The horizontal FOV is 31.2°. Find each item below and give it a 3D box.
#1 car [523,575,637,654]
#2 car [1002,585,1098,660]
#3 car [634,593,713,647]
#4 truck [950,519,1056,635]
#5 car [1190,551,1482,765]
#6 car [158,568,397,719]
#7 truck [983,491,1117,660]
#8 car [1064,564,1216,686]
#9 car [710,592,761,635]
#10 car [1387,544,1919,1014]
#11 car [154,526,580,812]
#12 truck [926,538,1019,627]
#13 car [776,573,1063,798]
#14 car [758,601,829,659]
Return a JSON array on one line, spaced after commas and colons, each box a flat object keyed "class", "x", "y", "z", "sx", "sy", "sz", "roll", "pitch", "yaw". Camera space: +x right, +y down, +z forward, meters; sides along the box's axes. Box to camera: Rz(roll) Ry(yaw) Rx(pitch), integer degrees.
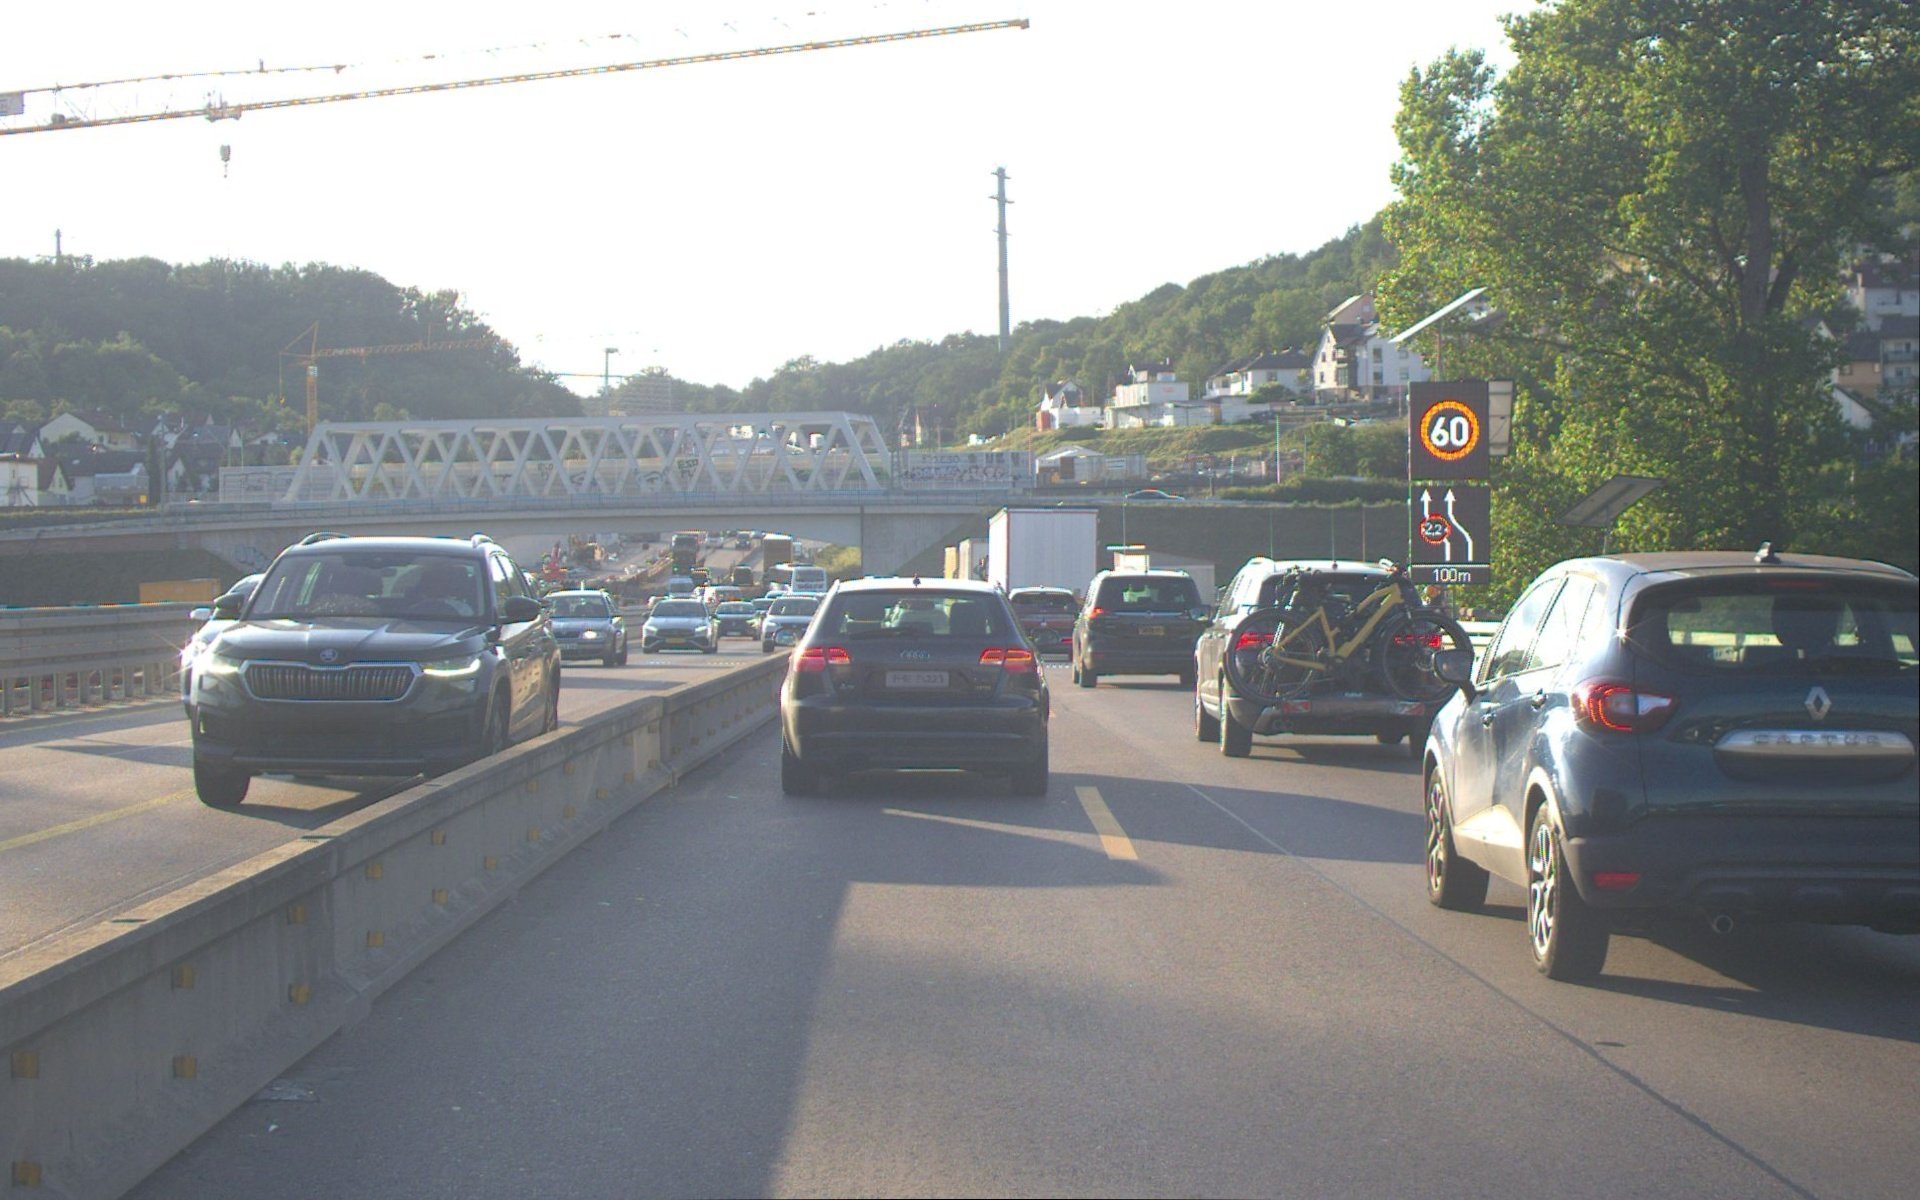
[{"class": "car", "x": -7.291, "y": 0.255, "z": 66.275, "sx": 1.677, "sy": 1.418, "sz": 4.579, "roll": 1, "pitch": 1, "yaw": 0}, {"class": "car", "x": 1.933, "y": 0.468, "z": 74.673, "sx": 1.770, "sy": 1.547, "sz": 4.000, "roll": 1, "pitch": 0, "yaw": -2}, {"class": "car", "x": -7.553, "y": 0.531, "z": 91.004, "sx": 1.774, "sy": 1.378, "sz": 4.532, "roll": 0, "pitch": -1, "yaw": -1}, {"class": "truck", "x": 1.672, "y": -1.047, "z": 142.625, "sx": 3.890, "sy": 4.483, "sz": 15.268, "roll": 1, "pitch": 1, "yaw": -1}, {"class": "car", "x": 2.967, "y": 0.440, "z": 28.129, "sx": 1.875, "sy": 1.594, "sz": 4.965, "roll": 0, "pitch": 0, "yaw": 0}, {"class": "car", "x": -6.957, "y": 0.409, "z": 35.387, "sx": 1.701, "sy": 1.441, "sz": 4.000, "roll": 0, "pitch": 1, "yaw": -1}, {"class": "truck", "x": 2.488, "y": -0.898, "z": 100.957, "sx": 3.385, "sy": 4.482, "sz": 15.269, "roll": 1, "pitch": 2, "yaw": 0}, {"class": "car", "x": 2.514, "y": 0.335, "z": 48.943, "sx": 1.814, "sy": 1.627, "sz": 4.411, "roll": 1, "pitch": 0, "yaw": -1}, {"class": "car", "x": -8.491, "y": 0.487, "z": 130.311, "sx": 1.710, "sy": 1.547, "sz": 4.000, "roll": -1, "pitch": 1, "yaw": -1}, {"class": "car", "x": 2.903, "y": 0.589, "z": 13.737, "sx": 1.774, "sy": 1.580, "sz": 4.135, "roll": 1, "pitch": 1, "yaw": -1}, {"class": "car", "x": -3.711, "y": 0.382, "z": 22.311, "sx": 1.993, "sy": 1.639, "sz": 4.512, "roll": 1, "pitch": 0, "yaw": 0}, {"class": "truck", "x": 0.589, "y": -1.014, "z": 182.829, "sx": 3.890, "sy": 4.483, "sz": 13.850, "roll": 1, "pitch": 1, "yaw": -4}, {"class": "car", "x": -0.334, "y": 0.527, "z": 23.429, "sx": 1.770, "sy": 1.385, "sz": 4.000, "roll": 1, "pitch": 0, "yaw": -2}, {"class": "car", "x": -4.498, "y": 0.791, "z": 93.358, "sx": 1.804, "sy": 1.506, "sz": 4.000, "roll": 0, "pitch": 0, "yaw": -1}]
